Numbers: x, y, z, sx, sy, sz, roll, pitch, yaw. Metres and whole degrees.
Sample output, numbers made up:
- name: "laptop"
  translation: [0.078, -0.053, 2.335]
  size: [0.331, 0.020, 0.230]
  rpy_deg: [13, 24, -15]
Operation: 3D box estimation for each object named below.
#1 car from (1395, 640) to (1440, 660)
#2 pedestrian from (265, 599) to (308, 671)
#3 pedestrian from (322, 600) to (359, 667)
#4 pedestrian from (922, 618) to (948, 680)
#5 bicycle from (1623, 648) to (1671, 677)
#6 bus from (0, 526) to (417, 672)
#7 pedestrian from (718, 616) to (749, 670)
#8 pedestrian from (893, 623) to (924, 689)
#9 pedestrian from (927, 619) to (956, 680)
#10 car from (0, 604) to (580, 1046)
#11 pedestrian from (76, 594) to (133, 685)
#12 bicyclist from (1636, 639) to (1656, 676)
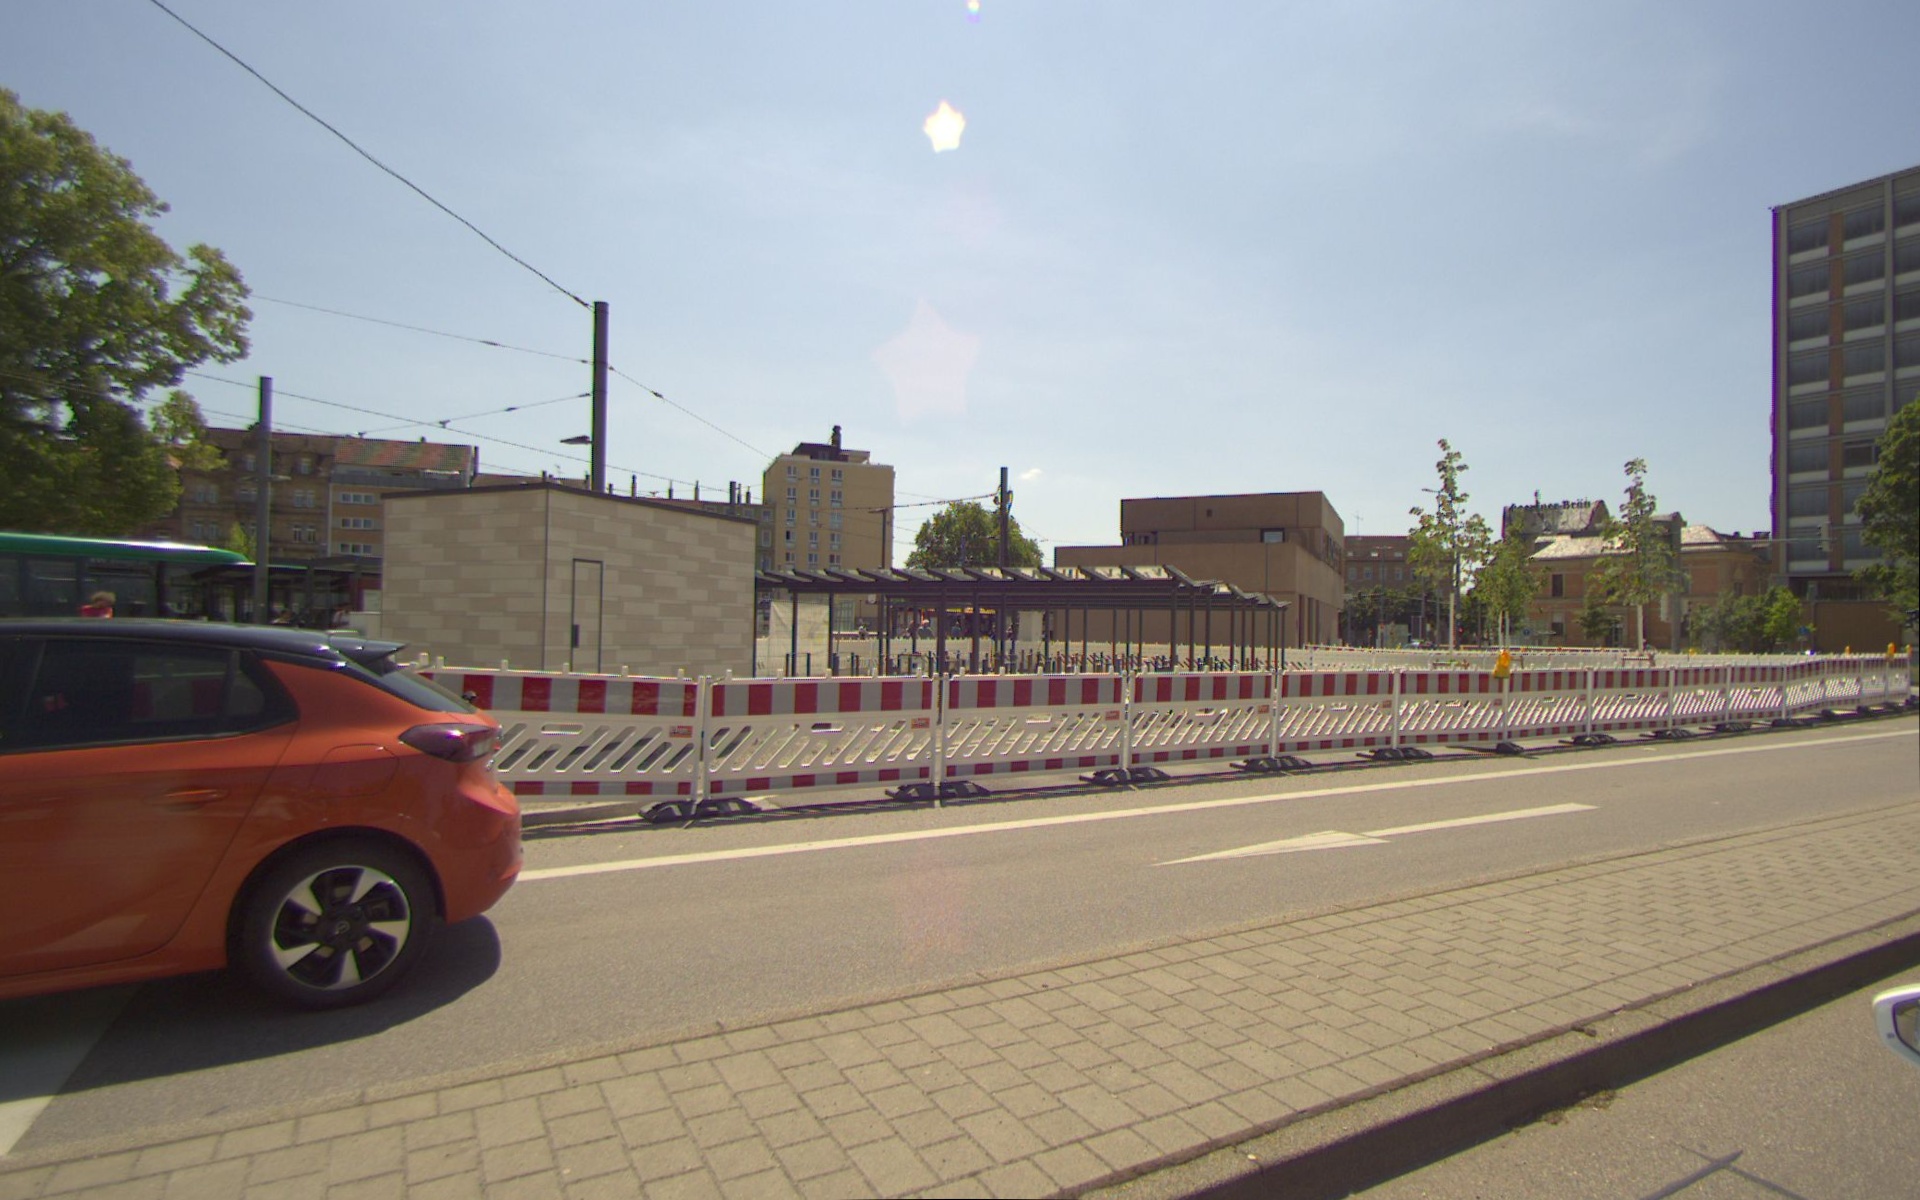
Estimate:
- name: "car"
  translation: [39.490, 4.291, 86.814]
  size: [1.688, 1.577, 4.587]
  rpy_deg: [1, -2, -1]
- name: "pedestrian"
  translation: [-15.979, 0.824, 23.828]
  size: [0.614, 1.677, 0.547]
  rpy_deg: [2, 0, 21]
- name: "pedestrian"
  translation: [-15.465, 0.824, 25.078]
  size: [0.527, 1.642, 0.520]
  rpy_deg: [2, 0, 21]
- name: "pedestrian"
  translation: [-0.851, 1.646, 33.760]
  size: [0.635, 2.040, 0.646]
  rpy_deg: [2, 0, 18]
- name: "bicycle"
  translation: [29.871, 2.696, 43.696]
  size: [0.515, 1.196, 1.894]
  rpy_deg: [2, -3, -12]
- name: "bus"
  translation: [-19.730, 0.000, 25.623]
  size: [2.802, 3.094, 10.591]
  rpy_deg: [2, 0, 26]
- name: "pedestrian"
  translation: [-8.802, 1.648, 39.051]
  size: [0.684, 2.040, 0.877]
  rpy_deg: [2, 0, 29]
- name: "pedestrian"
  translation: [-1.653, 1.769, 32.159]
  size: [0.747, 2.040, 0.646]
  rpy_deg: [2, 0, 19]
- name: "pedestrian"
  translation: [-0.627, 1.672, 34.471]
  size: [0.747, 2.040, 0.646]
  rpy_deg: [2, 0, 19]
- name: "car"
  translation: [-3.667, 0.744, 3.809]
  size: [3.964, 1.396, 1.681]
  rpy_deg: [2, -4, -29]
- name: "pedestrian"
  translation: [-16.533, 0.752, 19.430]
  size: [0.569, 1.724, 0.566]
  rpy_deg: [2, 0, 6]
- name: "bicyclist"
  translation: [29.835, 2.485, 43.676]
  size: [0.522, 1.600, 0.497]
  rpy_deg: [2, -2, -12]
